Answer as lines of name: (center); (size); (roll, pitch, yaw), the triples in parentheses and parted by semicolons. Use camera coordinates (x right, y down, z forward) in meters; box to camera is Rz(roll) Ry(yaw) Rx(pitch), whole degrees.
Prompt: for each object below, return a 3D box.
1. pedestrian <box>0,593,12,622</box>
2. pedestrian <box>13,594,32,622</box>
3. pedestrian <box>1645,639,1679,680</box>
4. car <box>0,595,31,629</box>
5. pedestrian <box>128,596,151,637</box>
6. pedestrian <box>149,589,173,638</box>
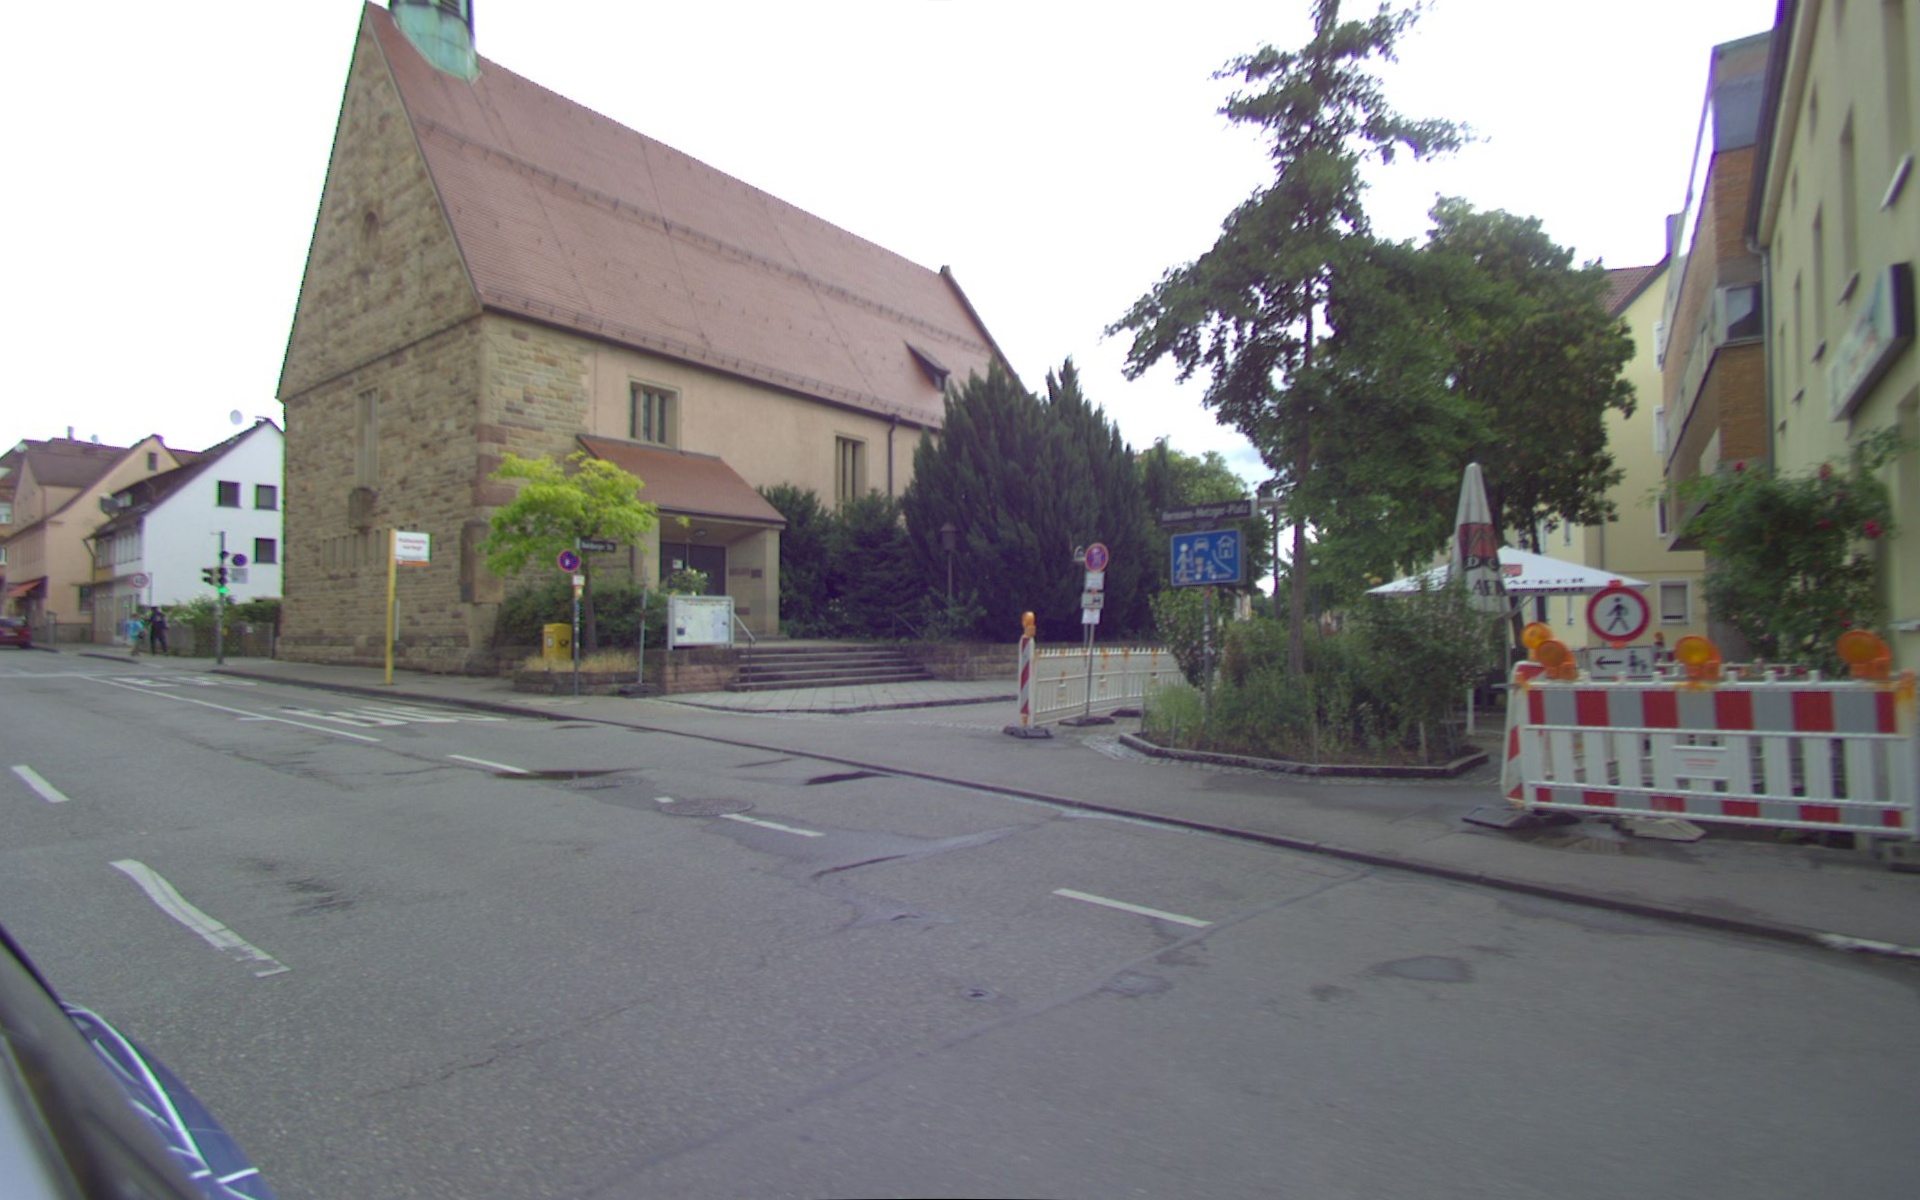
pedestrian: (-59.565, 0.479, 62.989); (0.983, 1.768, 0.730); (-1, -2, 43)
pedestrian: (-57.219, 0.487, 61.773); (0.758, 1.641, 0.723); (1, 1, 39)
pedestrian: (22.090, 1.850, 31.858); (0.788, 1.242, 0.778); (0, -1, 42)
car: (-48.226, 0.563, 50.885); (4.449, 1.586, 1.685); (0, -4, 42)
pedestrian: (-31.271, 0.628, 38.566); (0.697, 1.566, 0.564); (-1, -1, 42)
pedestrian: (-30.370, 0.502, 38.461); (0.697, 1.862, 0.565); (-1, 1, 42)
